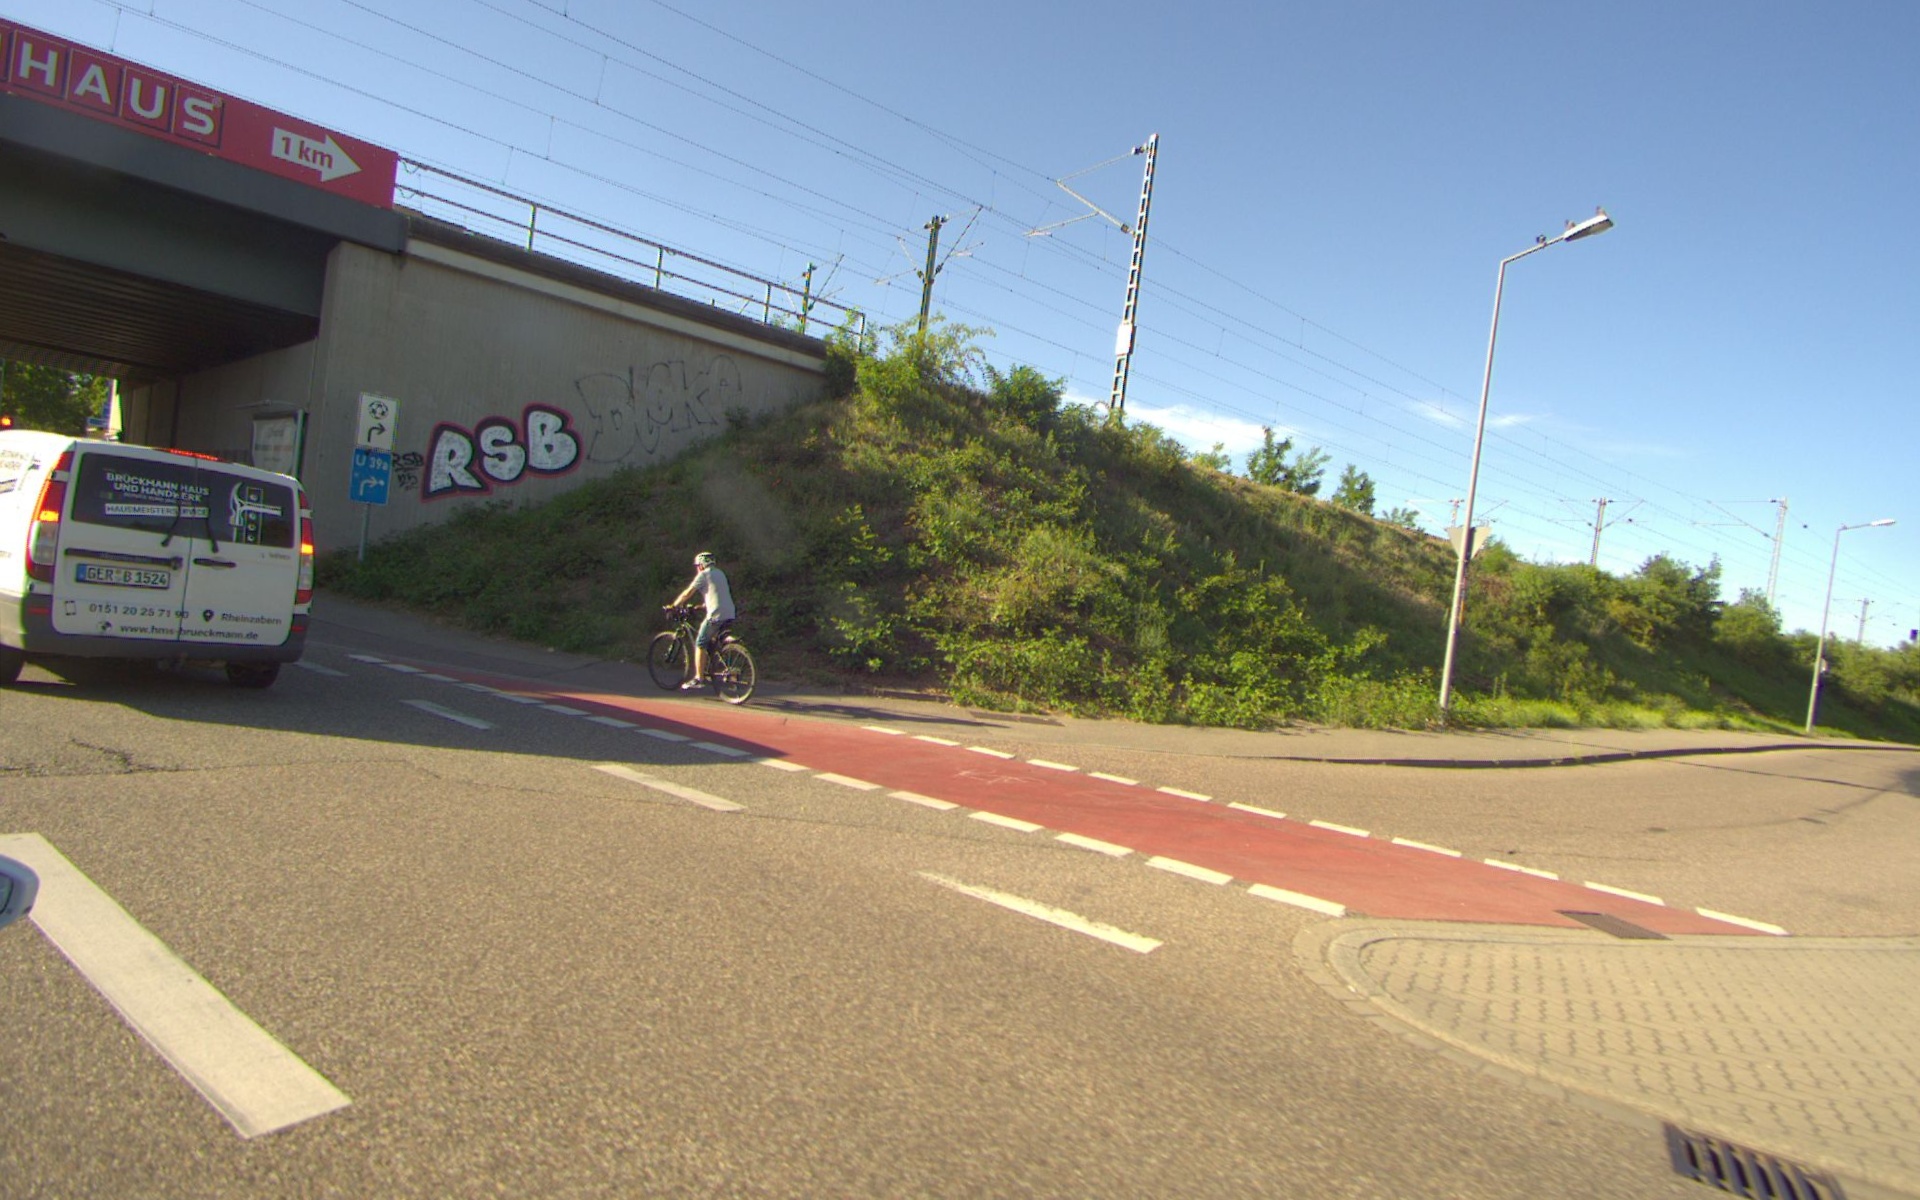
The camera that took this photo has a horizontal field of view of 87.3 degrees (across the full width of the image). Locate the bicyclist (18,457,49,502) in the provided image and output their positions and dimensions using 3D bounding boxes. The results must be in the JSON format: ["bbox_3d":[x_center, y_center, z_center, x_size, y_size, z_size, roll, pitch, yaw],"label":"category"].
[{"bbox_3d":[-35.400,-4.606,38.444,0.913,1.605,0.749,8,4,43],"label":"bicyclist"}]

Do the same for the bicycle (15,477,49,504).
[{"bbox_3d":[-35.386,-4.182,38.359,1.969,0.905,0.770,8,3,42],"label":"bicycle"}]

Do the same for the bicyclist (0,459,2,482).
[{"bbox_3d":[-69.035,-9.309,71.786,0.918,1.605,0.760,3,4,-42],"label":"bicyclist"}]

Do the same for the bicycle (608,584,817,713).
[{"bbox_3d":[-2.942,0.530,11.834,2.408,1.127,0.744,8,3,27],"label":"bicycle"}]

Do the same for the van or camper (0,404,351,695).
[{"bbox_3d":[-7.603,-0.509,8.881,4.804,1.906,1.959,7,0,36],"label":"van or camper"}]

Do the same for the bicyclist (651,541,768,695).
[{"bbox_3d":[-2.948,0.208,11.853,0.897,1.641,0.746,10,4,27],"label":"bicyclist"}]

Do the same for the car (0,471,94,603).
[{"bbox_3d":[-12.702,-0.966,12.987,3.624,1.452,1.604,8,0,39],"label":"car"}]

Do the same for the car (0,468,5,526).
[{"bbox_3d":[-17.504,-1.629,16.739,4.226,1.494,1.762,7,1,39],"label":"car"}]
